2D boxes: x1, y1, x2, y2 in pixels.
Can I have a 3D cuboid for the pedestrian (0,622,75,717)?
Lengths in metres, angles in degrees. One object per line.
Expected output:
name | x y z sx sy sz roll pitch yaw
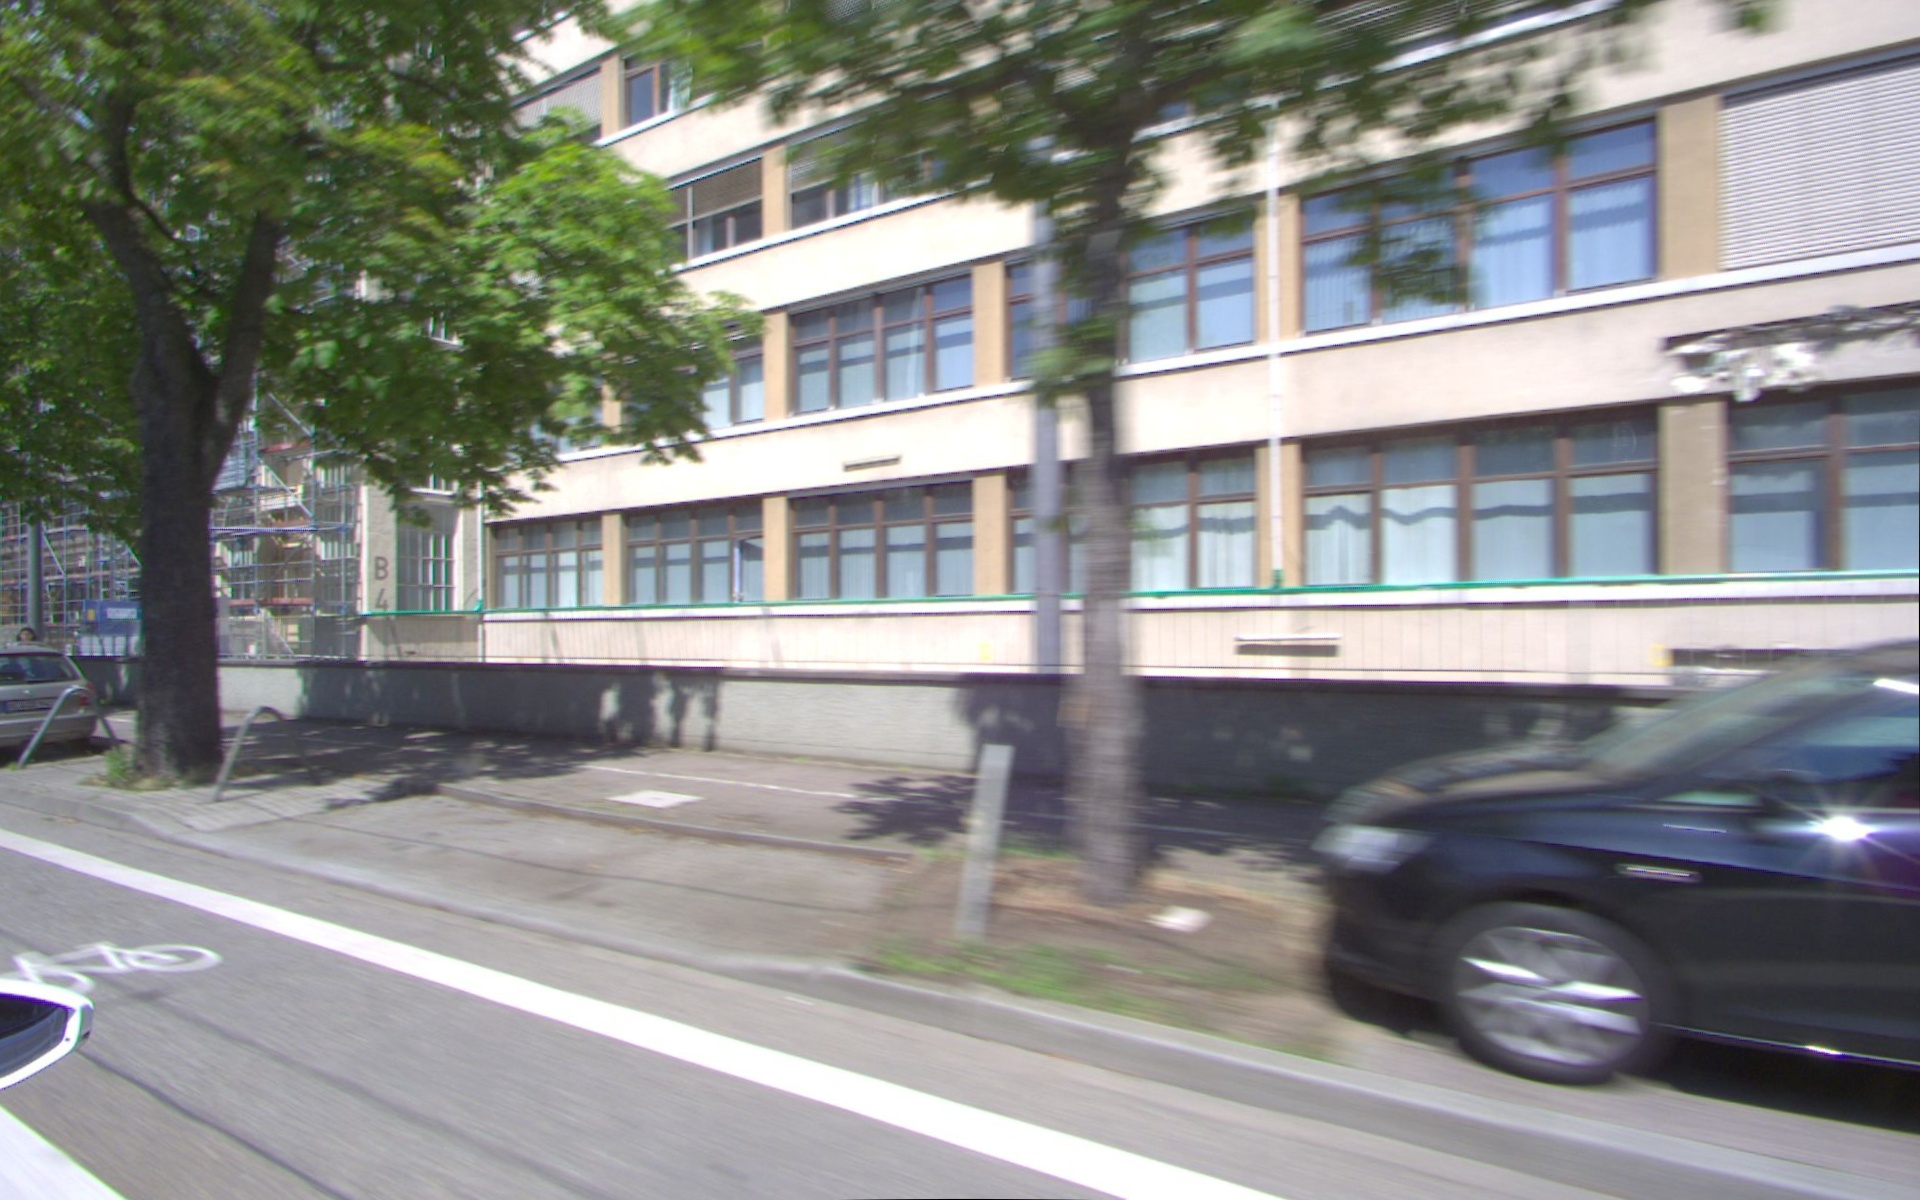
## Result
pedestrian | -16.277 1.199 17.618 0.906 1.610 0.798 -1 1 31

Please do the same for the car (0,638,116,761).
car | -13.620 1.288 13.778 4.299 1.518 1.670 -1 -1 29

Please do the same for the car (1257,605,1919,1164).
car | 3.178 0.783 3.328 3.923 1.509 1.669 -1 -1 31
